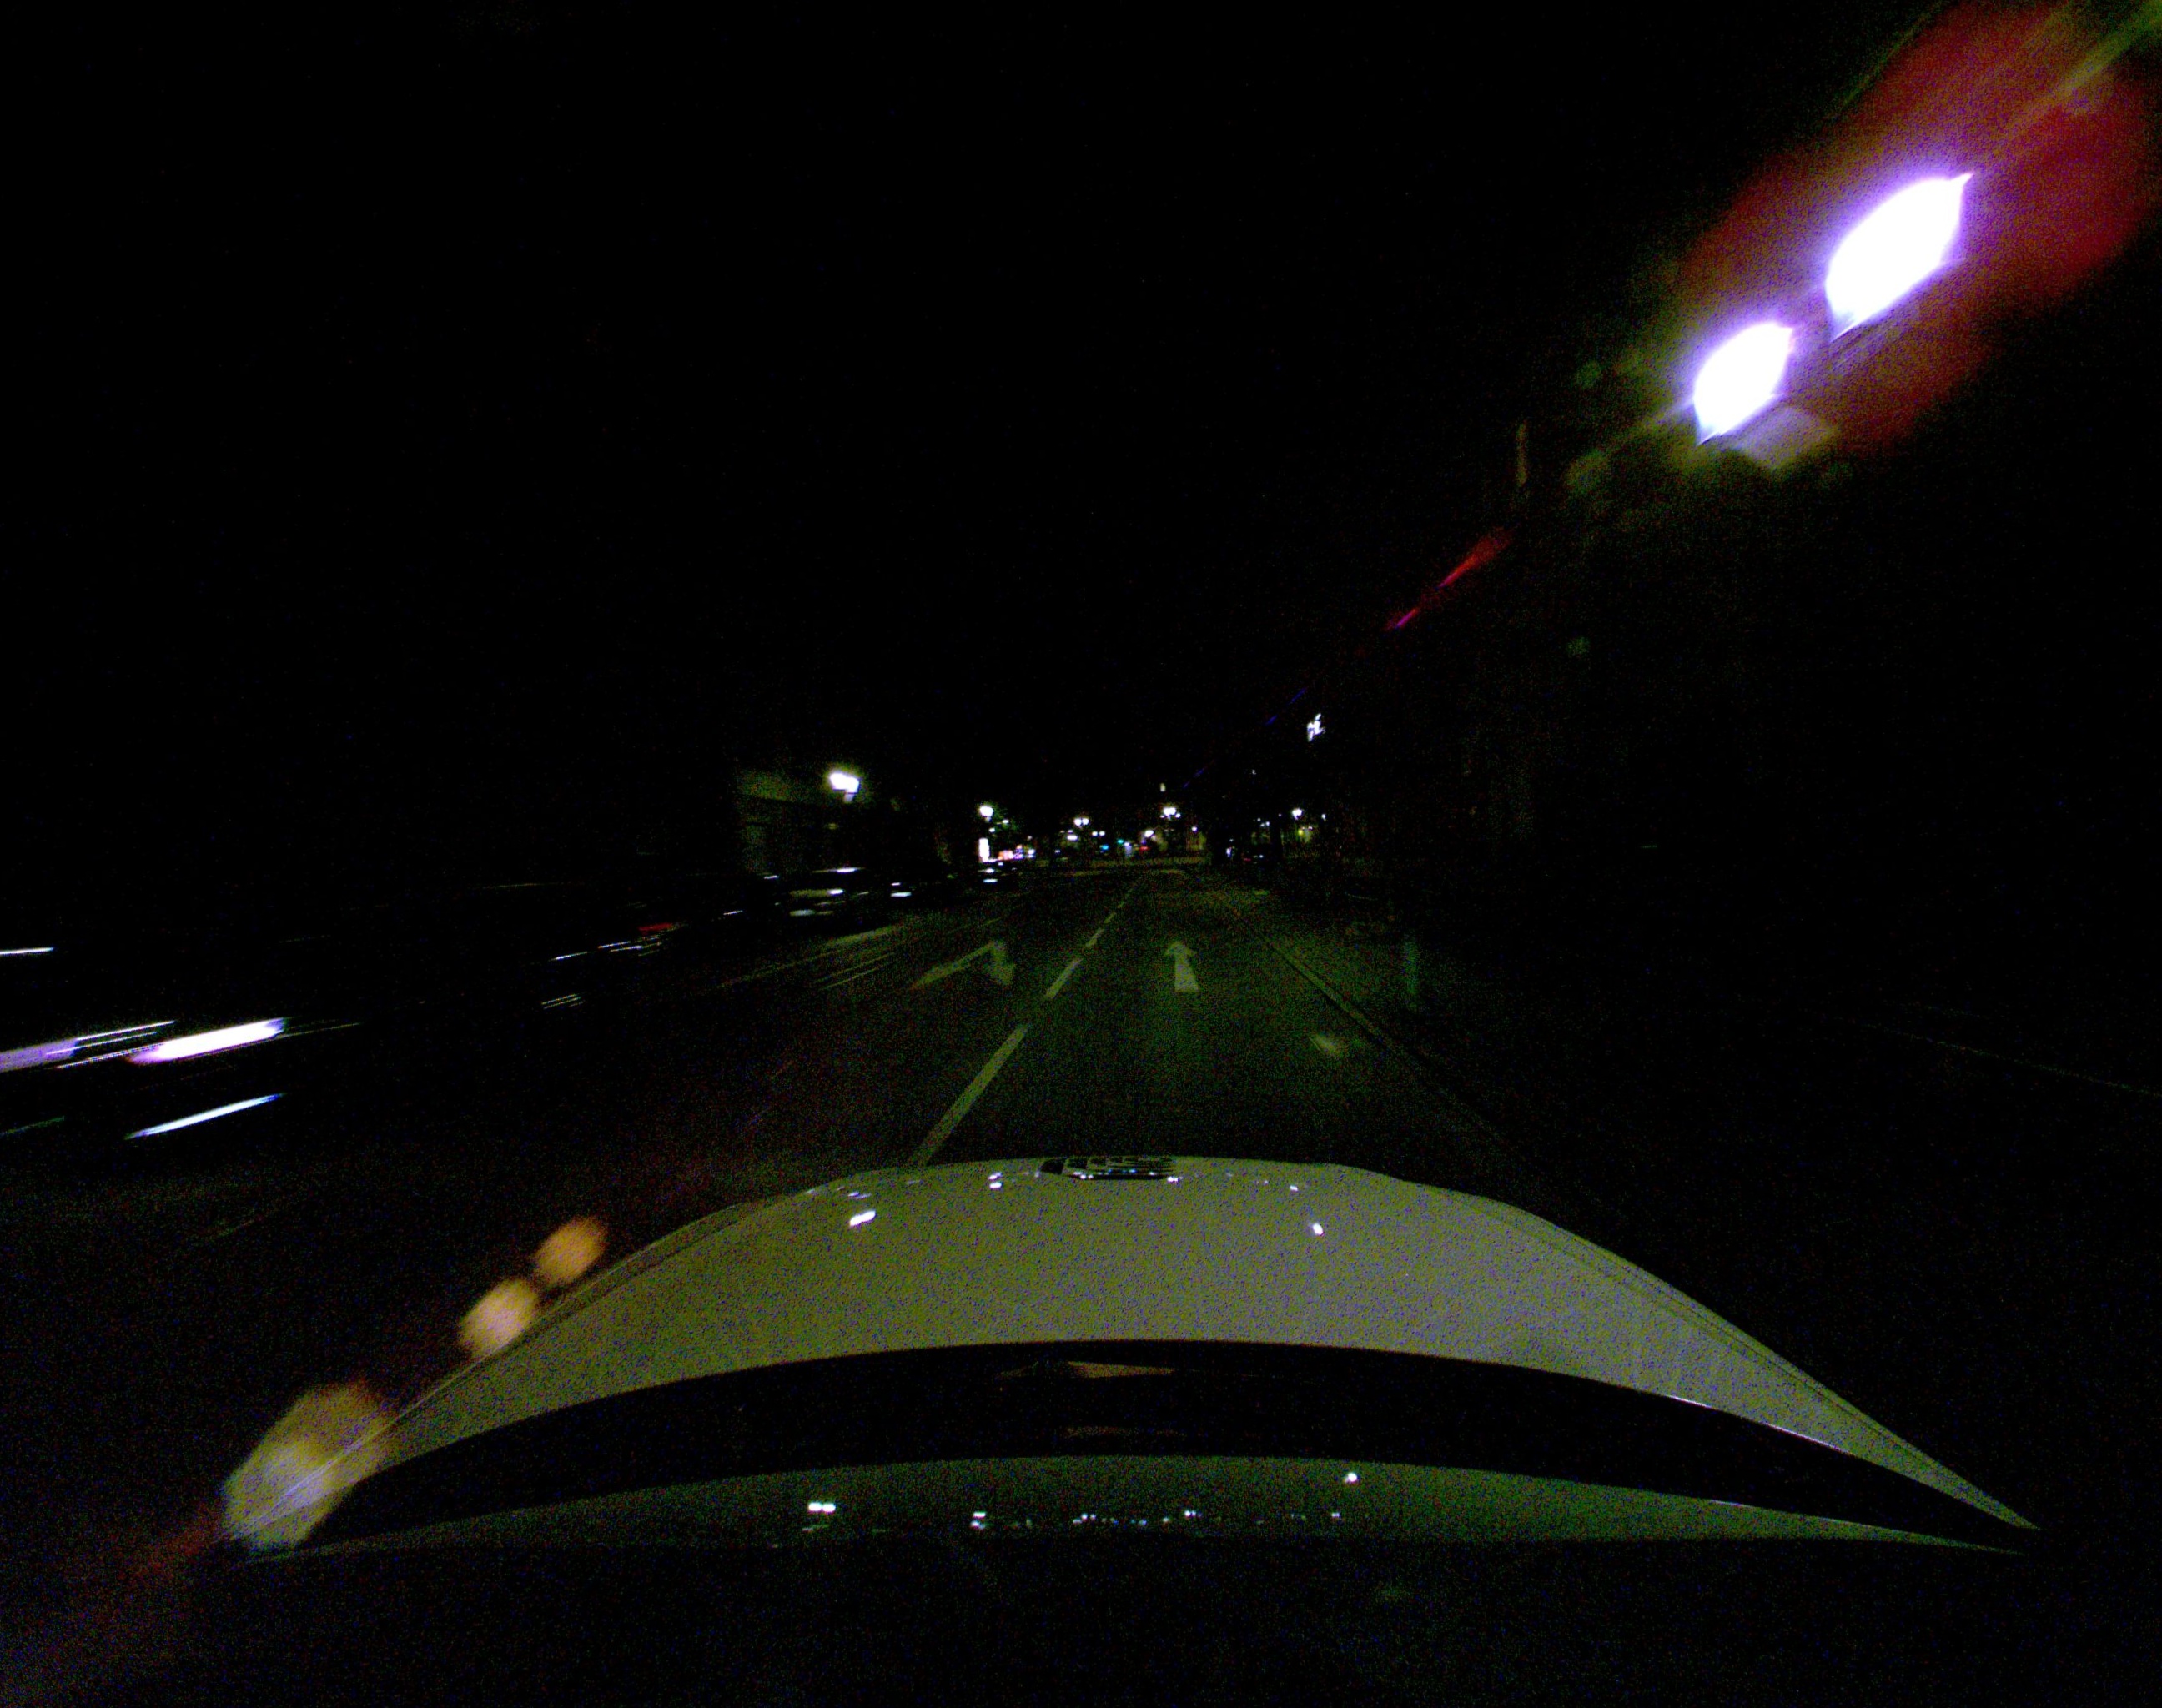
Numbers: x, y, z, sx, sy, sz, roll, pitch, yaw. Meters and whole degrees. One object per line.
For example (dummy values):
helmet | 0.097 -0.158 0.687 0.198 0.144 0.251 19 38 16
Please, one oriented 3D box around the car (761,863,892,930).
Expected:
car | -6.416 1.008 21.023 1.776 1.491 4.006 0 0 5

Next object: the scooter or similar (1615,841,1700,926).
scooter or similar | 8.310 0.397 11.794 0.419 1.130 1.499 -3 0 13

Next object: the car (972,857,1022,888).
car | -4.253 0.920 41.712 1.776 1.415 4.131 -1 0 4

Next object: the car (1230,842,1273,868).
car | 10.233 0.067 49.174 1.727 1.459 4.729 -2 0 2

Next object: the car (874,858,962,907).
car | -5.730 0.944 29.238 1.775 1.582 4.420 0 0 7

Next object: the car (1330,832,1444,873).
car | 13.312 -0.076 35.664 4.398 1.459 1.795 -3 0 11

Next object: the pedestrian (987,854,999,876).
pedestrian | -7.285 0.940 67.482 0.730 1.822 0.684 0 -2 -41

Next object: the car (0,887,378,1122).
car | -8.095 1.094 6.390 1.582 1.491 3.710 0 0 10

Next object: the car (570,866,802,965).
car | -7.105 1.015 15.240 1.775 1.491 4.339 0 0 8

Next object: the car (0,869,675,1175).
car | -5.191 0.945 6.267 1.706 1.429 4.007 -4 0 6
